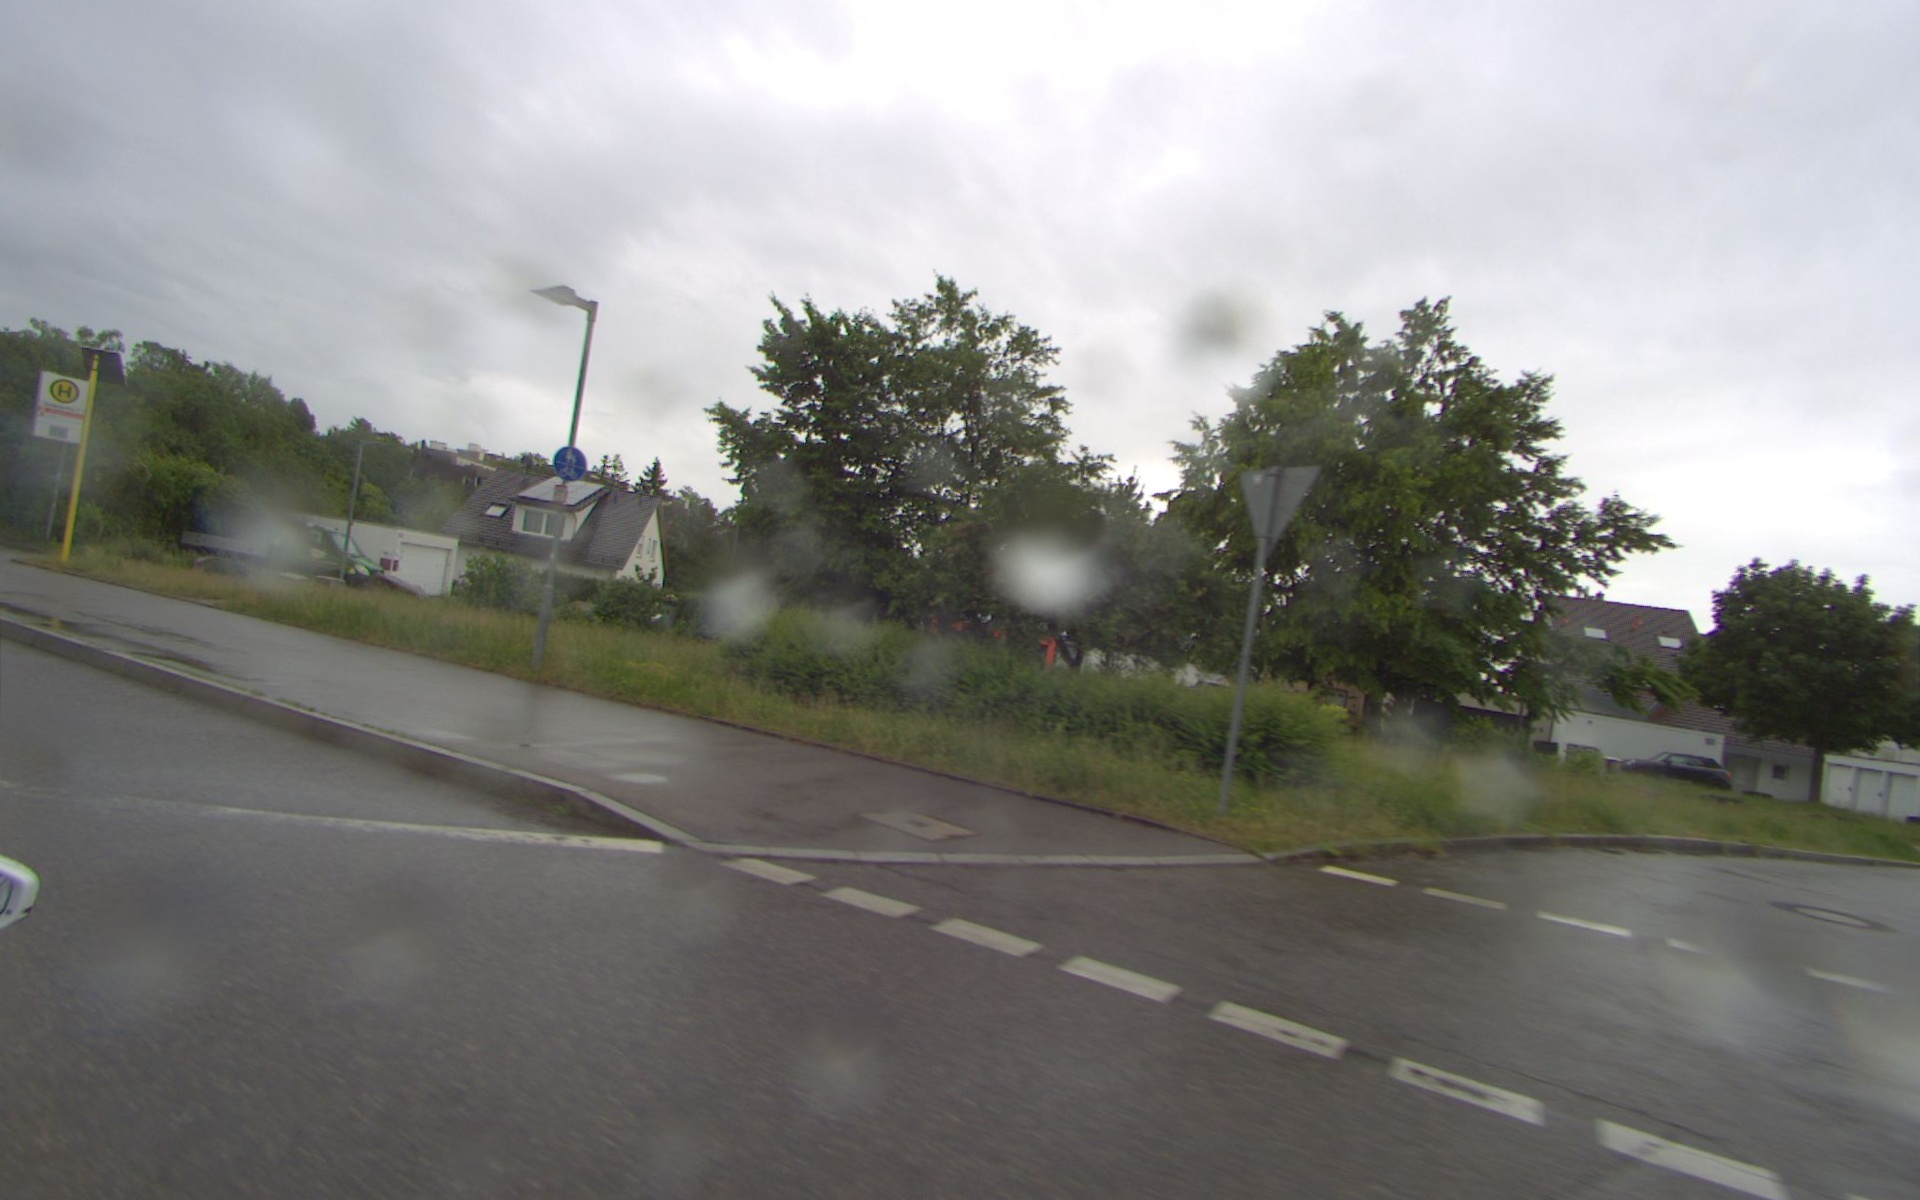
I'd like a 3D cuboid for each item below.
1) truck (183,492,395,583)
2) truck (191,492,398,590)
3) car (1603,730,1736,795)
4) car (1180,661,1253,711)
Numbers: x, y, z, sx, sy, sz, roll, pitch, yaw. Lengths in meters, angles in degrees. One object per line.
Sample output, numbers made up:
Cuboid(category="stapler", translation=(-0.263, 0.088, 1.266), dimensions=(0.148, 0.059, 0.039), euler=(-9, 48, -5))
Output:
Cuboid(category="truck", translation=(-23.605, -2.146, 35.609), dimensions=(5.750, 2.133, 1.999), euler=(9, -2, -7))
Cuboid(category="truck", translation=(-23.456, -2.018, 35.683), dimensions=(5.540, 2.555, 1.998), euler=(8, -1, -8))
Cuboid(category="car", translation=(28.221, 6.437, 40.160), dimensions=(3.845, 1.769, 2.001), euler=(7, -2, 24))
Cuboid(category="car", translation=(12.243, 4.084, 48.359), dimensions=(1.945, 1.770, 3.997), euler=(9, -1, -5))
